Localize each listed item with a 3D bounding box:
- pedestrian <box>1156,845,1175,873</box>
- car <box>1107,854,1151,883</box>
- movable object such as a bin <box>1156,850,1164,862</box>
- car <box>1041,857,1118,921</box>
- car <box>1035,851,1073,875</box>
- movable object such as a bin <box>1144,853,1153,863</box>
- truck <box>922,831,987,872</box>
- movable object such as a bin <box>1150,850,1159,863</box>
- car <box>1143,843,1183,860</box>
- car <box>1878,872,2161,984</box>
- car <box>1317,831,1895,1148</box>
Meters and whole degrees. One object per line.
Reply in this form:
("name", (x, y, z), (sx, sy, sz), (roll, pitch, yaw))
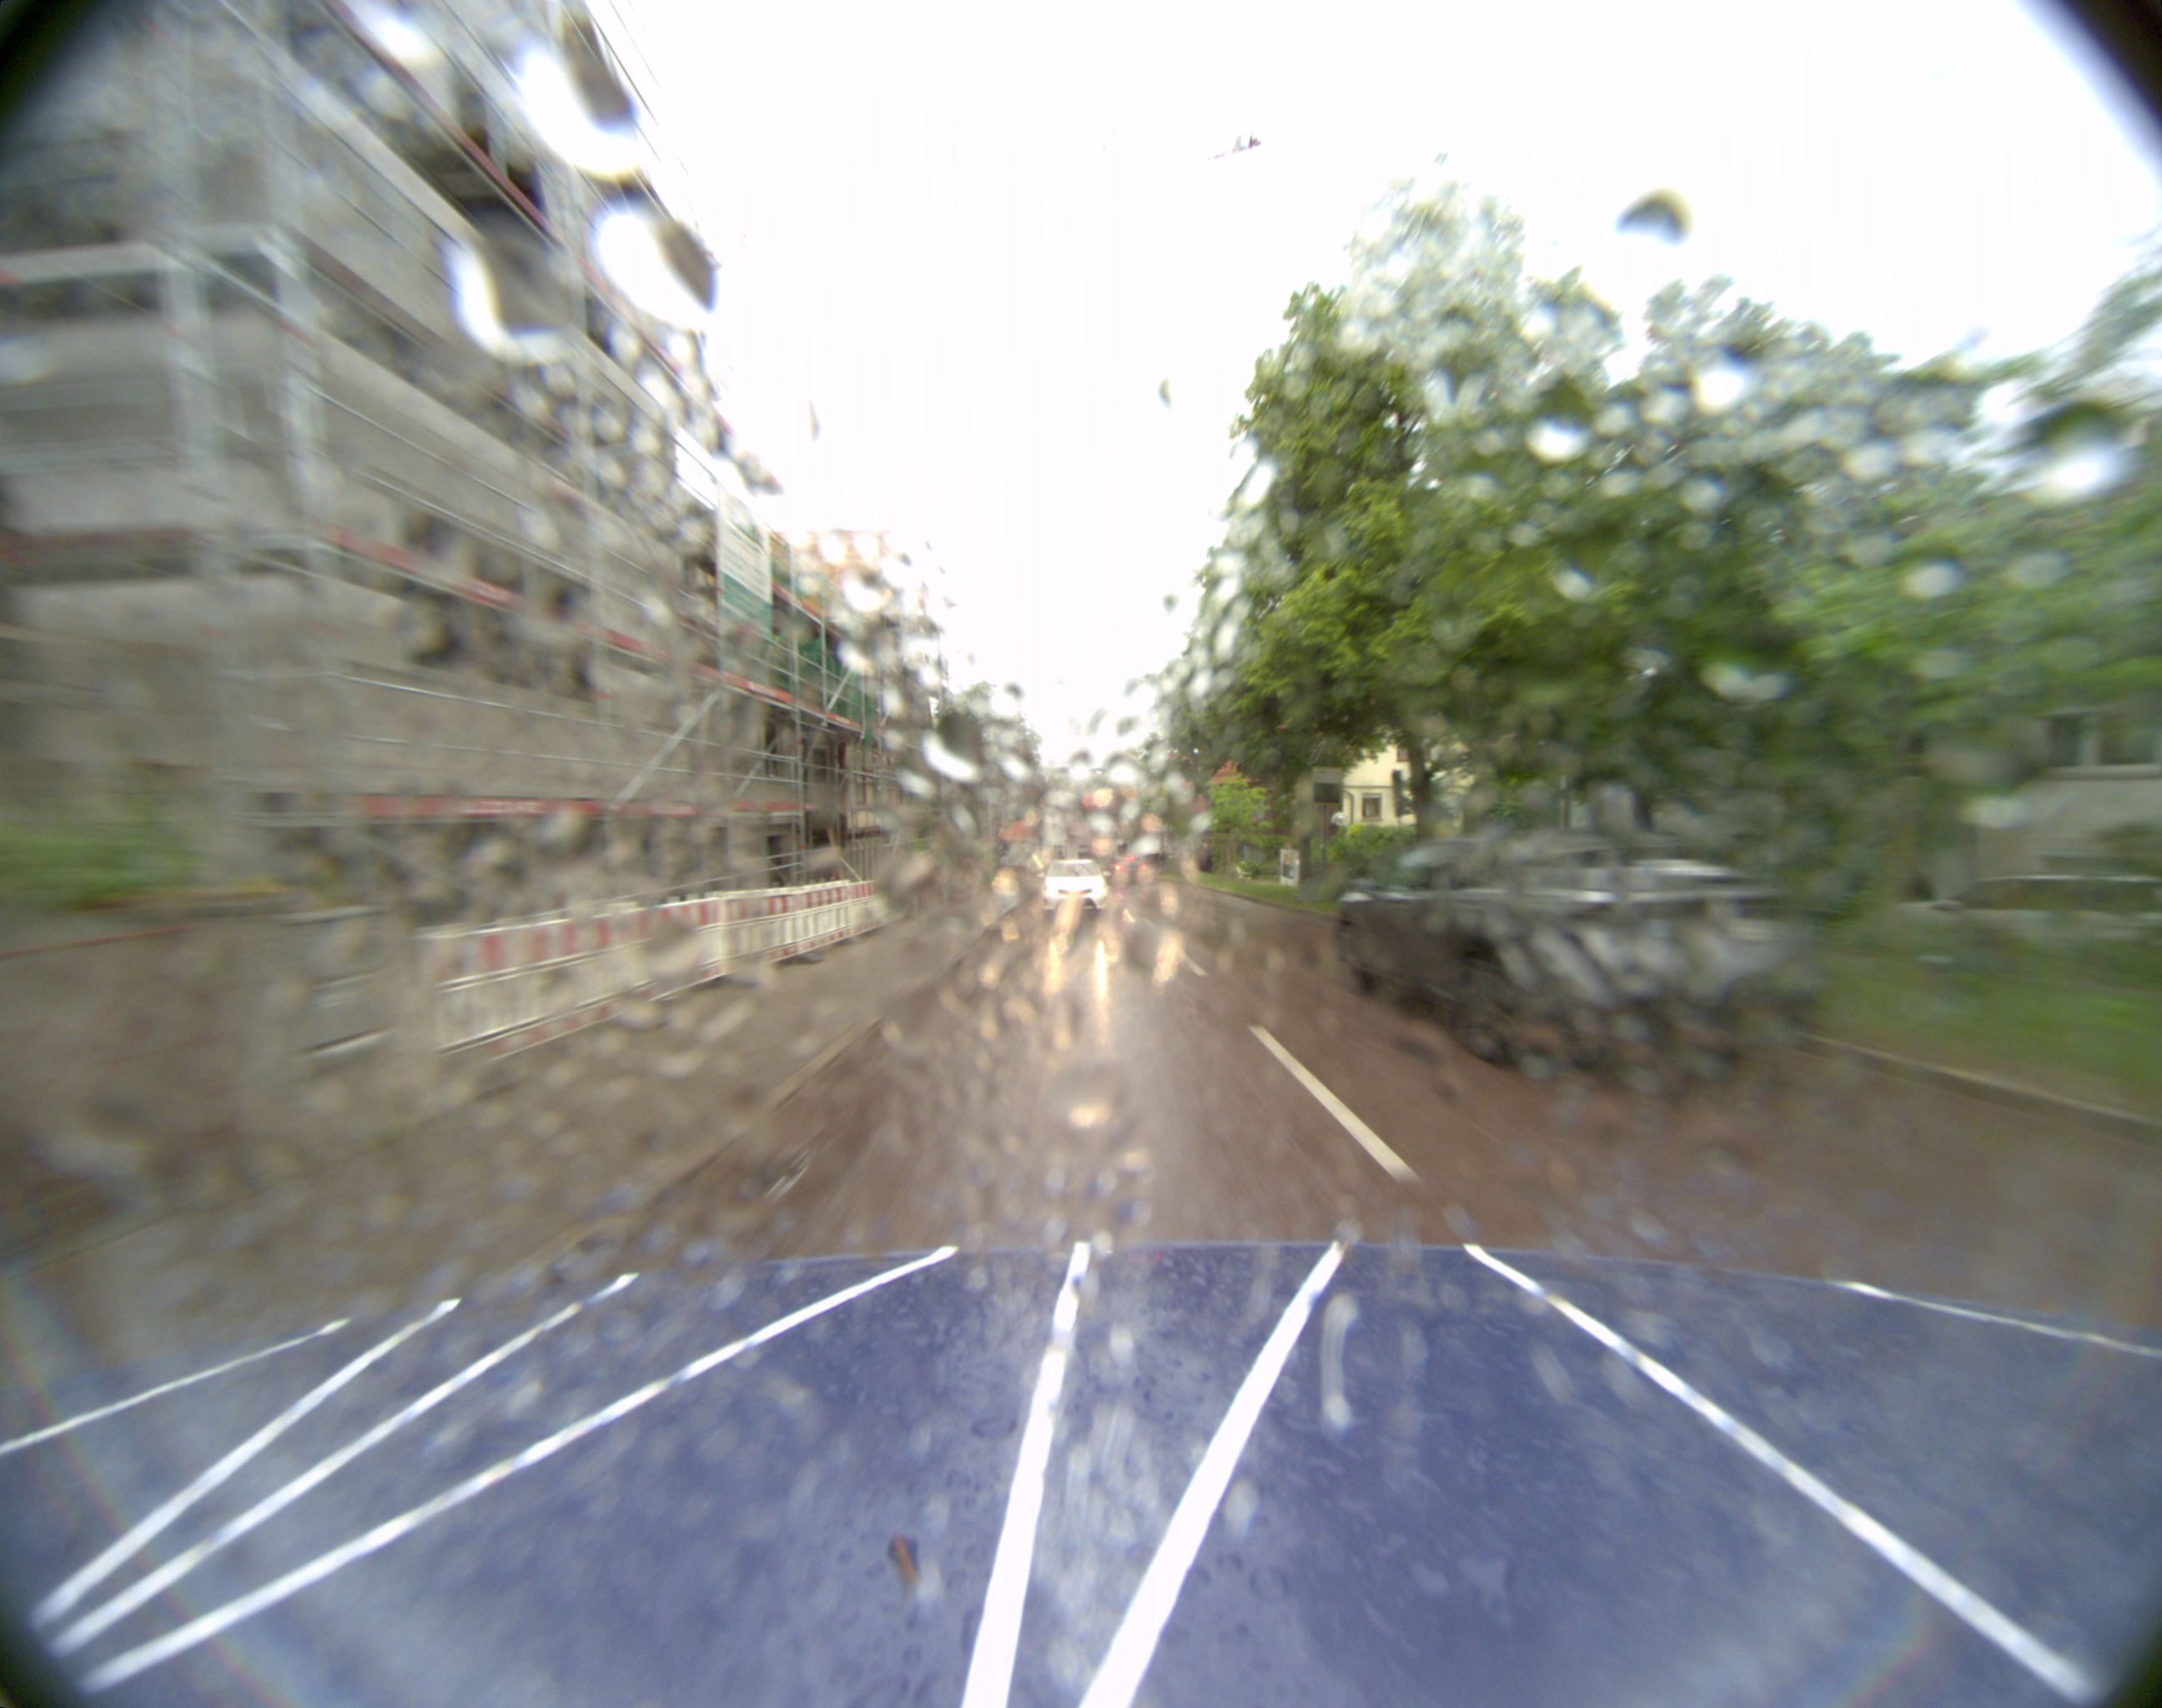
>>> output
("pedestrian", (5.613, 0.350, 50.501), (0.971, 1.820, 0.894), (-2, 1, -8))
("car", (2.506, 0.757, 40.922), (1.770, 1.432, 4.062), (-2, 0, -5))
("movable object such as a bin", (7.021, 0.177, 67.471), (0.531, 1.117, 0.516), (-2, 1, -25))
("car", (-0.126, 0.882, 21.107), (1.859, 1.427, 4.015), (-3, 1, -3))
("car", (-2.074, 0.654, 56.977), (1.895, 1.606, 4.134), (-2, 0, -15))
("movable object such as a bin", (5.952, 0.347, 67.059), (0.518, 0.935, 0.500), (-2, 1, -26))
("truck", (-13.156, -0.200, 78.158), (2.862, 3.945, 10.406), (-3, 1, -31))
("movable object such as a bin", (6.490, 0.236, 67.248), (0.546, 1.117, 0.516), (-2, 1, -26))
("car", (7.539, -0.210, 70.157), (1.729, 1.524, 3.991), (-2, 0, -27))
("car", (14.750, 1.009, 11.306), (2.001, 1.321, 3.443), (-2, 0, -15))
("car", (3.571, 0.735, 6.356), (1.755, 1.679, 4.375), (-2, 0, 0))
